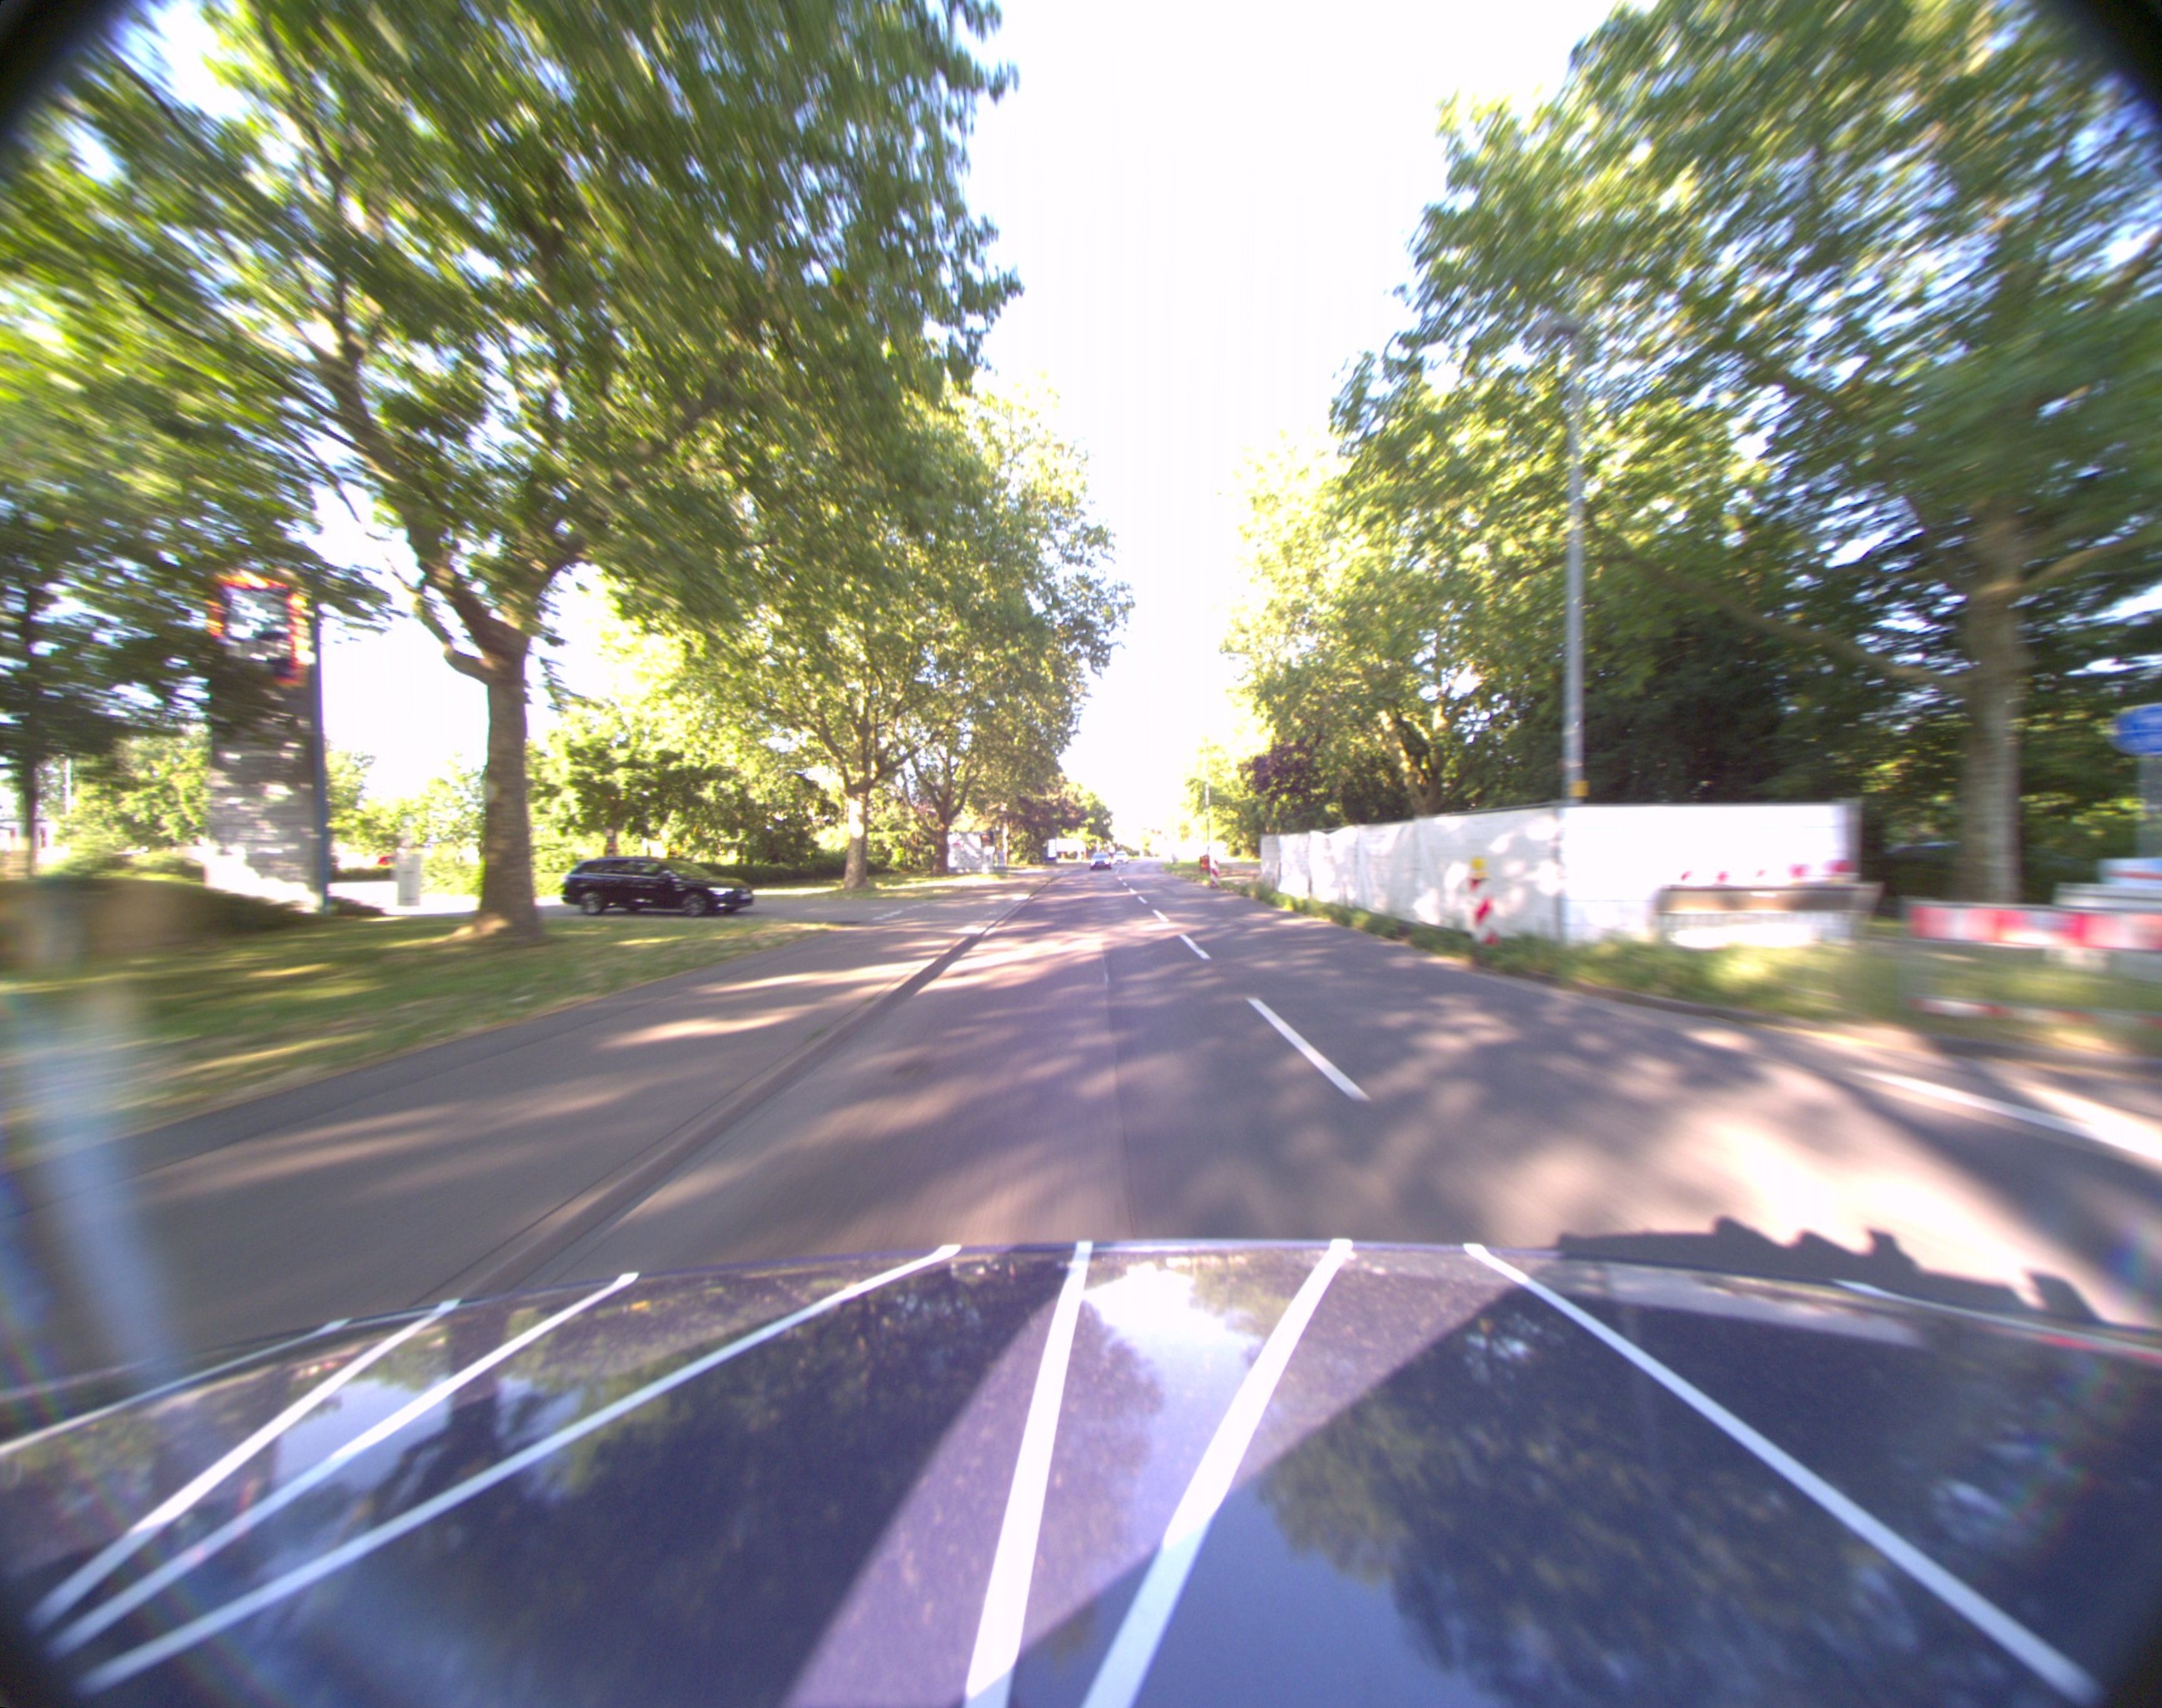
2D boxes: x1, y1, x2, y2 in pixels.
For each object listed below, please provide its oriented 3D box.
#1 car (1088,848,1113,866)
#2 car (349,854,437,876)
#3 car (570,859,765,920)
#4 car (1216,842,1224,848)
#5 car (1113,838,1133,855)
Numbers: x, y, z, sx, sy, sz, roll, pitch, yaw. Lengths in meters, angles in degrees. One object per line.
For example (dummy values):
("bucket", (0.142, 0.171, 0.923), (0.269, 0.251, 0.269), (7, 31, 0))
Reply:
("car", (1.729, 0.206, 65.831), (1.869, 1.471, 4.087), (0, 1, 5))
("car", (-45.576, 0.709, 50.467), (1.997, 1.346, 4.002), (0, 0, 7))
("car", (-10.382, 0.867, 19.242), (3.996, 1.435, 1.761), (0, 1, 4))
("car", (37.653, -2.458, 205.554), (1.763, 1.475, 4.113), (-3, 0, 17))
("car", (5.386, -1.000, 97.989), (1.932, 2.002, 4.002), (-1, 2, 12))
